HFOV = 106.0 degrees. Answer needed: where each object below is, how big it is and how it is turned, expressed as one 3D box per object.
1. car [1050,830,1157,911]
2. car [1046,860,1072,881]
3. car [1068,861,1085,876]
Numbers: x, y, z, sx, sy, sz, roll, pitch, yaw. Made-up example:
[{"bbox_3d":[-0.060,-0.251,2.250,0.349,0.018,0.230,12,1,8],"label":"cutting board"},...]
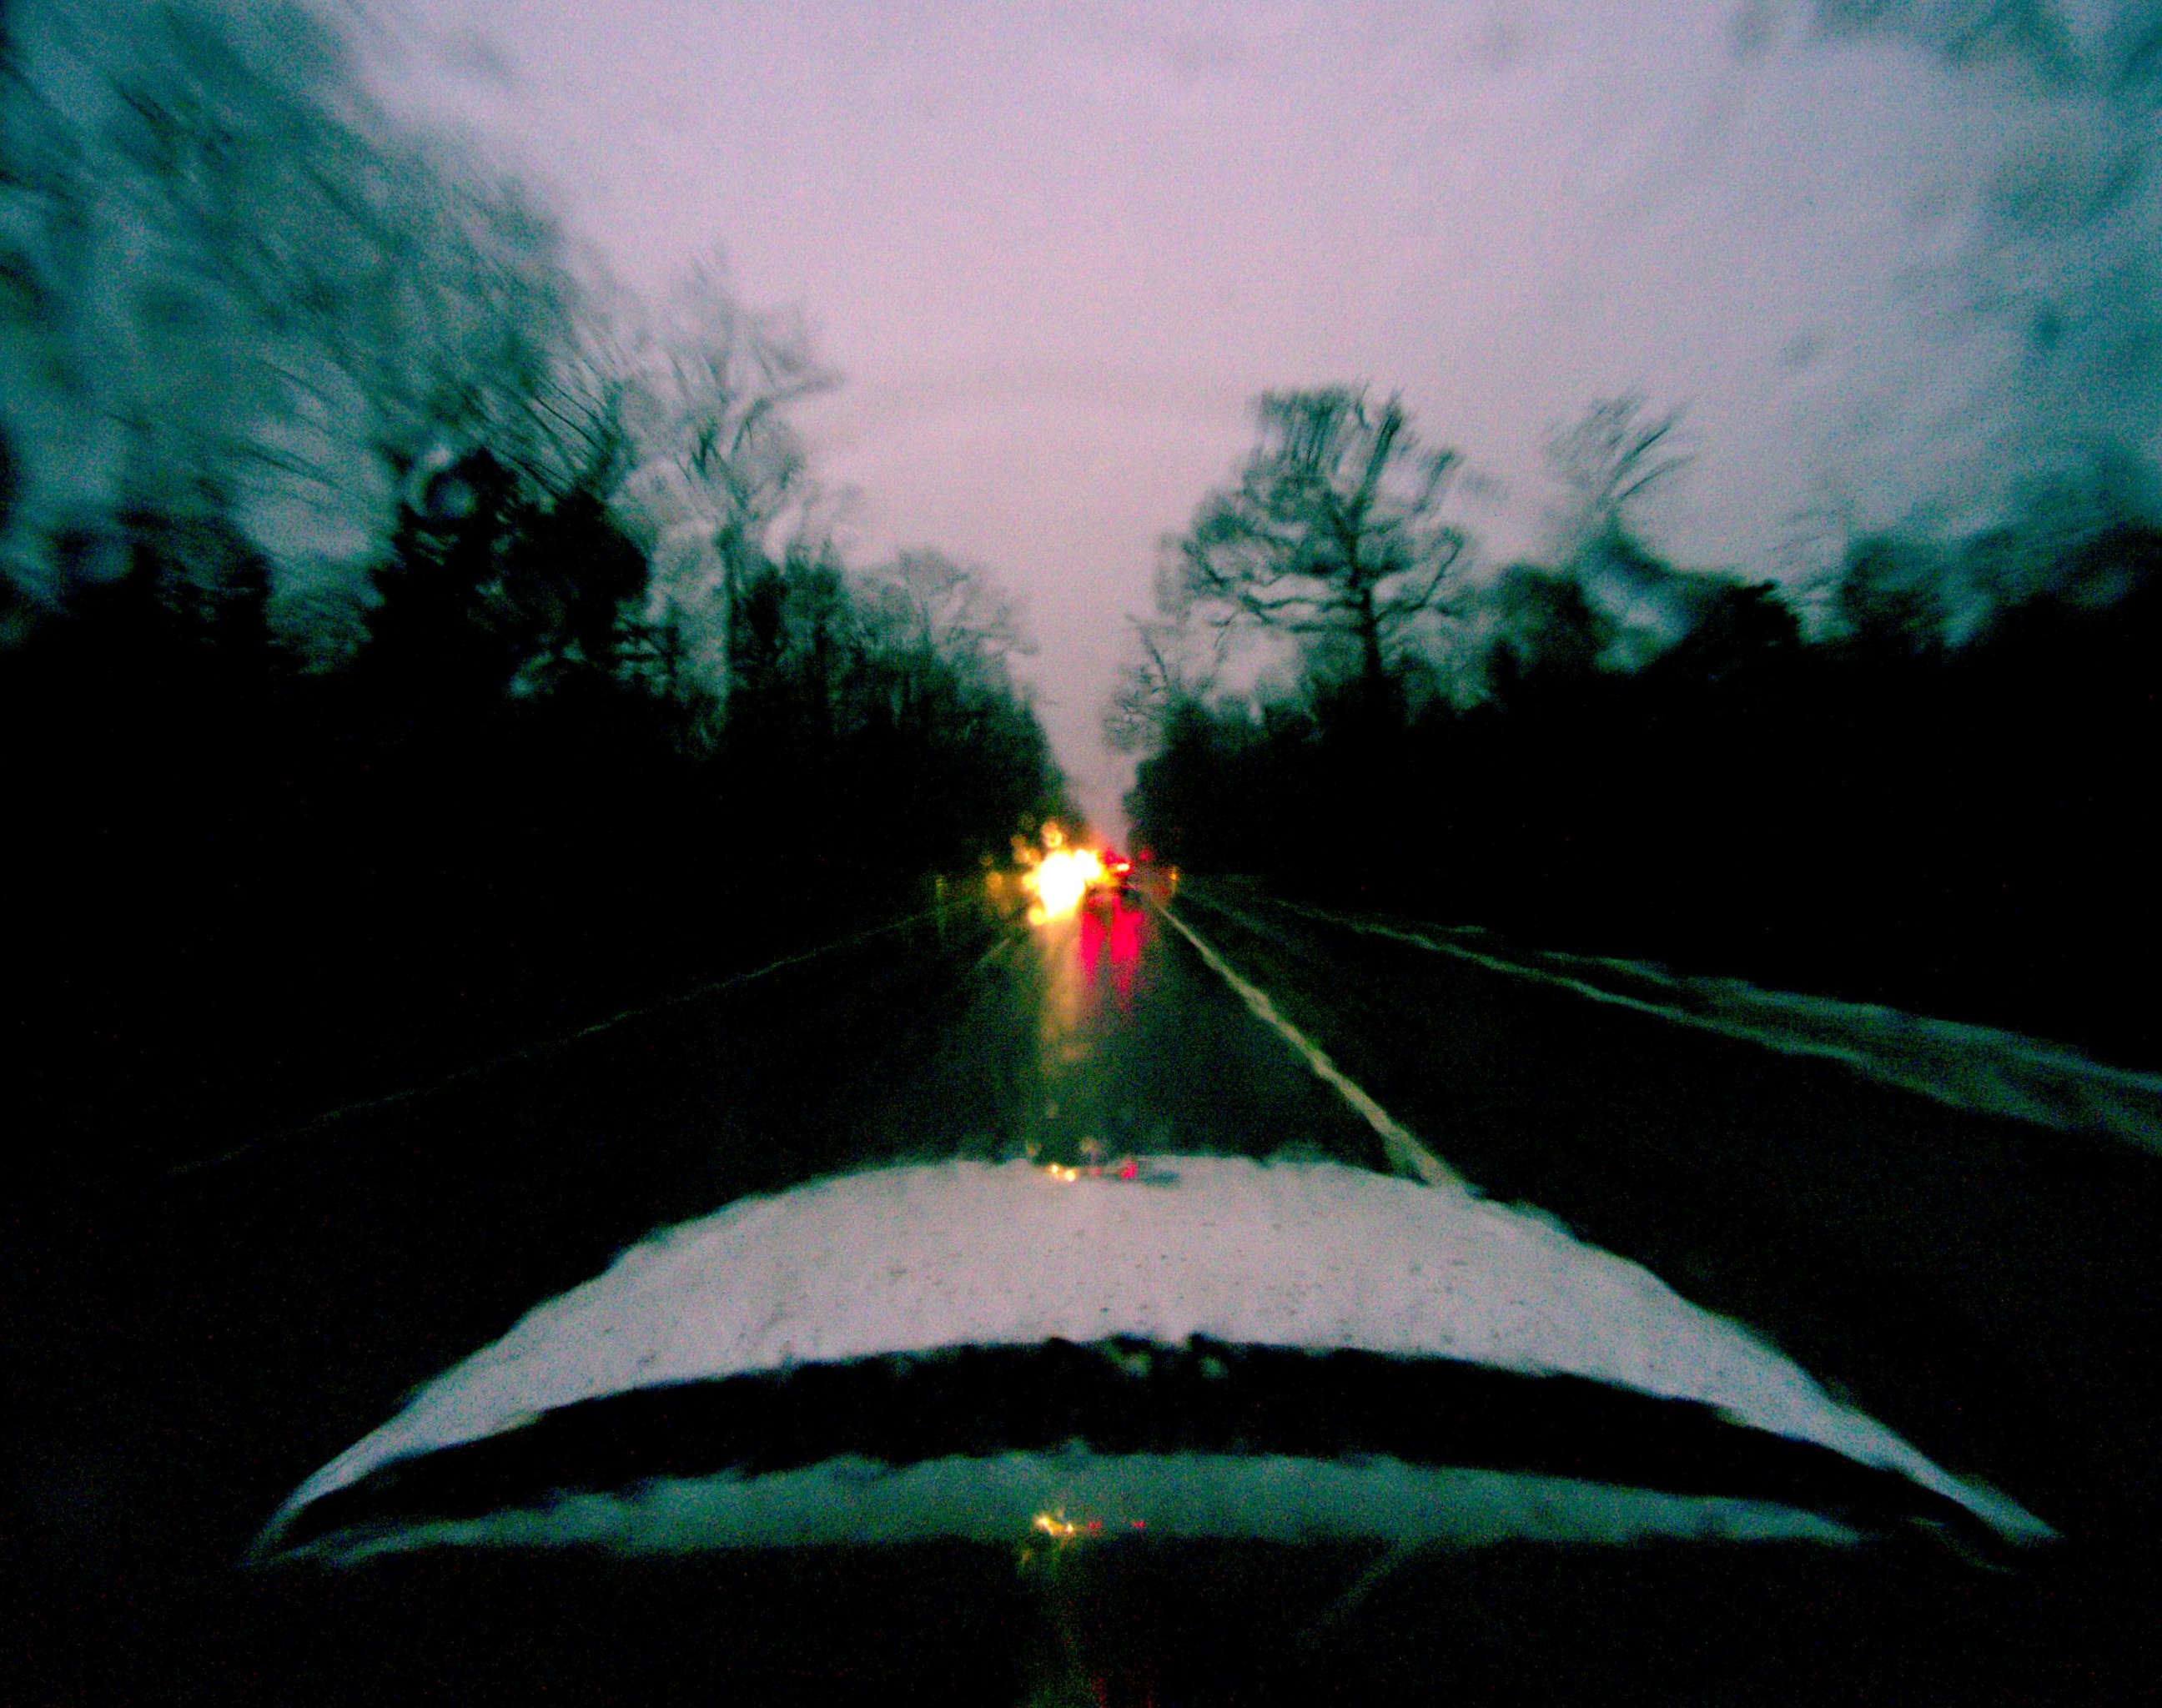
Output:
[{"bbox_3d":[0.831,0.532,27.663,3.171,2.386,6.640,-1,-1,3],"label":"car"},{"bbox_3d":[-1.598,1.185,61.454,1.685,1.420,4.002,-2,0,2],"label":"car"},{"bbox_3d":[-0.538,1.705,100.236,1.911,1.608,5.017,-3,1,1],"label":"car"}]
